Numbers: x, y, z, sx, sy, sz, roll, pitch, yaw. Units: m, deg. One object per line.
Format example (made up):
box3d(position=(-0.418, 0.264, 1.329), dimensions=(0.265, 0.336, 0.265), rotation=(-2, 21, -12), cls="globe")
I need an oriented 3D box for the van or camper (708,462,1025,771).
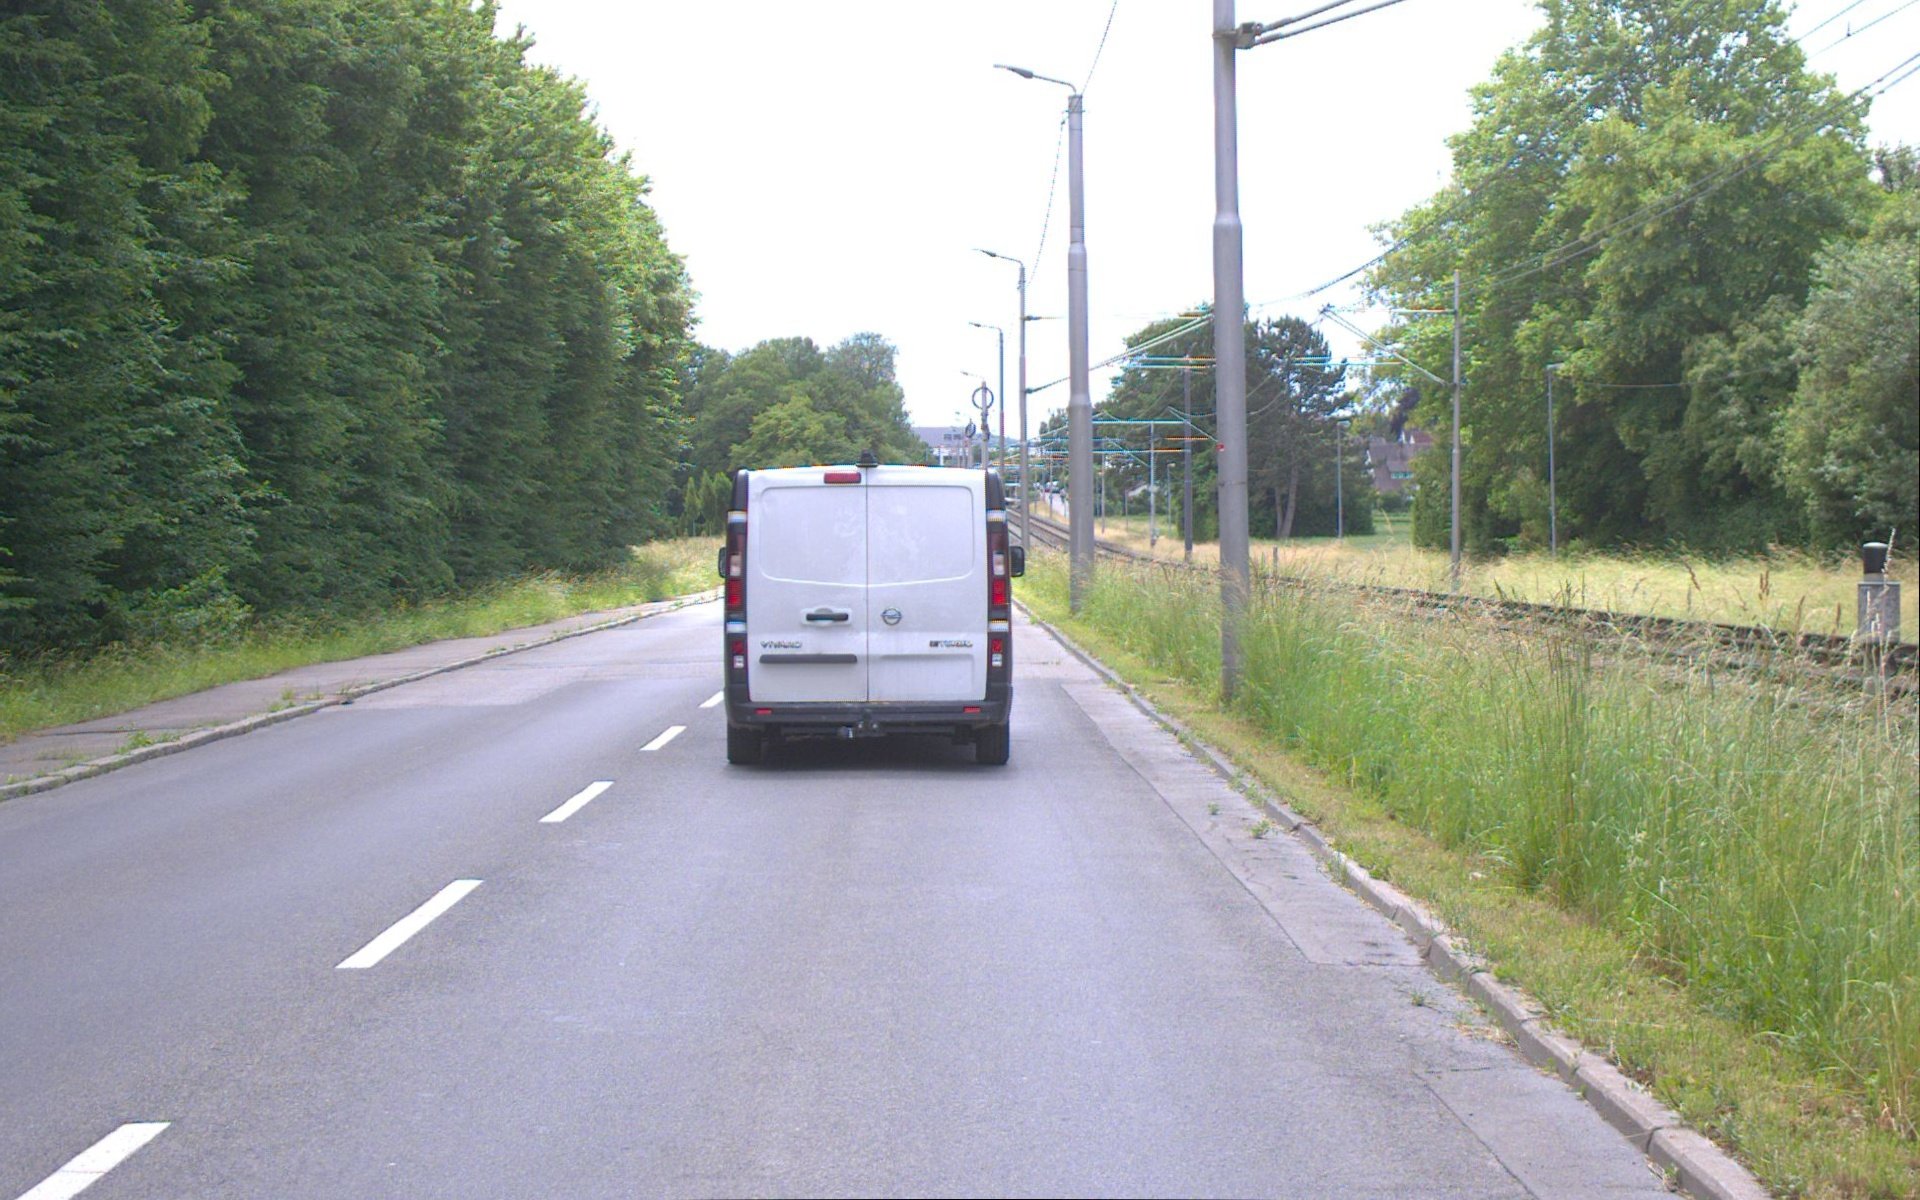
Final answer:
box3d(position=(-0.592, 0.040, 23.447), dimensions=(1.942, 1.890, 4.285), rotation=(1, 2, 0), cls="van or camper")
